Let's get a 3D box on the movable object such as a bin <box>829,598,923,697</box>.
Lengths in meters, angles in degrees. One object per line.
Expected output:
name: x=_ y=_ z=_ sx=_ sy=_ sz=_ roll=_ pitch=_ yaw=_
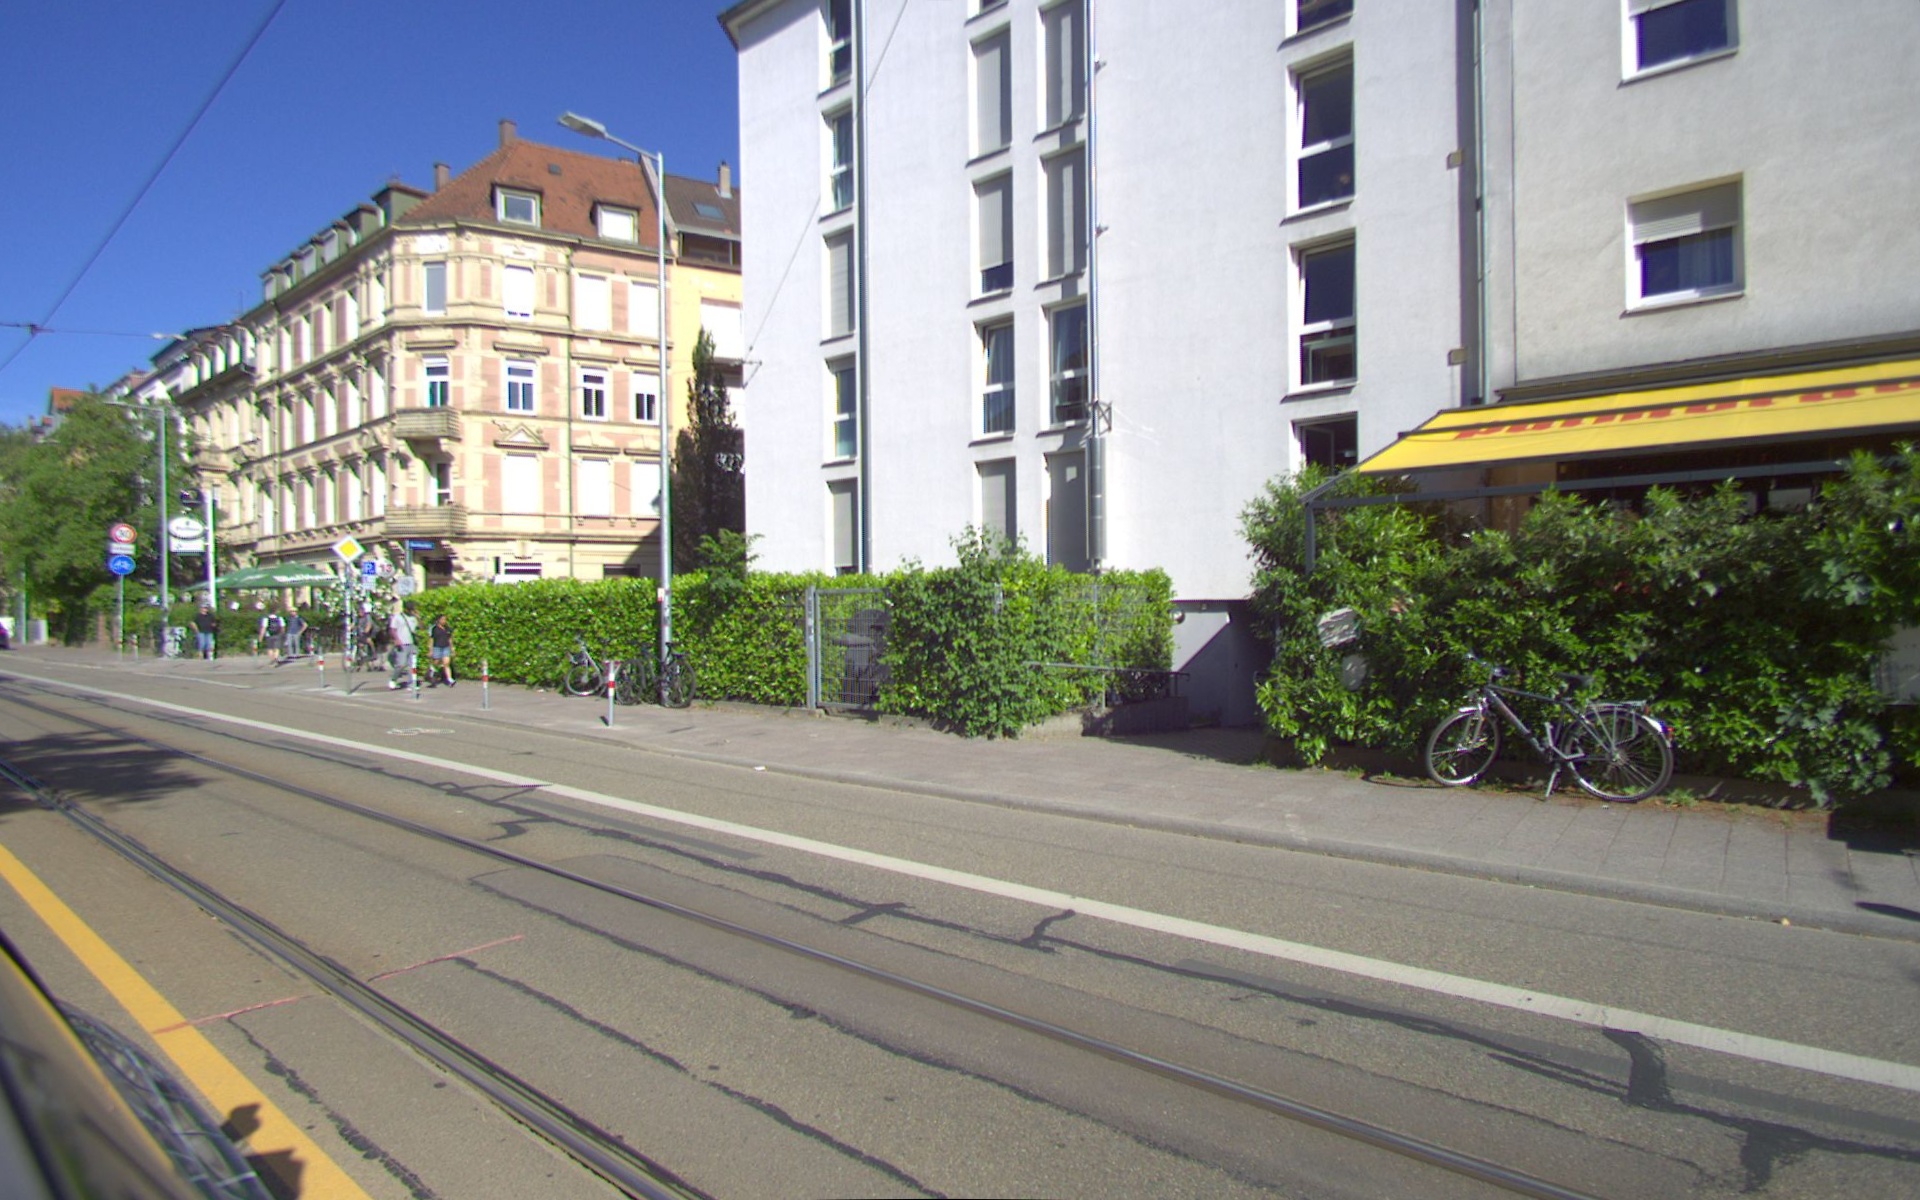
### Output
movable object such as a bin: x=-1.306 y=0.717 z=15.771 sx=1.257 sy=1.467 sz=0.799 roll=-1 pitch=-2 yaw=39

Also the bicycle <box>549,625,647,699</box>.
bicycle: x=-6.022 y=1.002 z=16.784 sx=1.839 sy=1.097 sz=0.655 roll=0 pitch=3 yaw=41

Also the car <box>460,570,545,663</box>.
car: x=-15.231 y=0.493 z=33.553 sx=1.861 sy=2.862 sz=4.797 roll=0 pitch=0 yaw=-33

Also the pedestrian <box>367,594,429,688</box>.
pedestrian: x=-10.799 y=0.776 z=19.449 sx=0.808 sy=1.726 sz=0.747 roll=-1 pitch=1 yaw=41

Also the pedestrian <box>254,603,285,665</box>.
pedestrian: x=-20.462 y=0.996 z=29.996 sx=0.682 sy=1.781 sz=0.869 roll=-1 pitch=-1 yaw=-30

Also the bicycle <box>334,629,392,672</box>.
bicycle: x=-16.419 y=1.367 z=27.892 sx=0.696 sy=1.063 sz=1.838 roll=0 pitch=0 yaw=-7

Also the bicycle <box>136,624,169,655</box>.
bicycle: x=-28.942 y=1.404 z=36.248 sx=2.221 sy=1.046 sz=0.508 roll=-1 pitch=0 yaw=41

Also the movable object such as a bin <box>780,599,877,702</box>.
movable object such as a bin: x=-1.966 y=0.733 z=15.127 sx=1.257 sy=1.467 sz=0.799 roll=-1 pitch=-2 yaw=39

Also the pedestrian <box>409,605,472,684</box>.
pedestrian: x=-10.254 y=0.860 z=19.966 sx=0.956 sy=1.489 sz=0.747 roll=-1 pitch=1 yaw=41

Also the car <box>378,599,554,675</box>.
car: x=-12.763 y=0.887 z=26.218 sx=3.984 sy=1.820 sz=1.797 roll=0 pitch=0 yaw=-29

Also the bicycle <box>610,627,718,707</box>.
bicycle: x=-4.569 y=0.999 z=15.571 sx=1.839 sy=1.097 sz=0.655 roll=0 pitch=3 yaw=41

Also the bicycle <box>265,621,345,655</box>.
bicycle: x=-22.608 y=1.304 z=34.968 sx=2.212 sy=1.052 sz=0.877 roll=-1 pitch=1 yaw=-41

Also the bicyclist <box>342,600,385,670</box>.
bicyclist: x=-16.409 y=0.942 z=27.857 sx=0.696 sy=1.867 sz=0.987 roll=0 pitch=0 yaw=-7

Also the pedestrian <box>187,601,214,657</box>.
pedestrian: x=-24.736 y=0.943 z=32.970 sx=0.538 sy=1.795 sz=0.552 roll=-1 pitch=0 yaw=37

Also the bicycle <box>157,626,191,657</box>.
bicycle: x=-26.144 y=1.354 z=33.649 sx=1.776 sy=0.988 sz=0.522 roll=-1 pitch=-1 yaw=40

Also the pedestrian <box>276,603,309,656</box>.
pedestrian: x=-21.663 y=0.952 z=32.869 sx=0.694 sy=1.667 sz=0.835 roll=0 pitch=0 yaw=-18

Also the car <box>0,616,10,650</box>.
car: x=-47.206 y=1.562 z=48.544 sx=4.585 sy=1.588 sz=1.845 roll=-1 pitch=-2 yaw=40

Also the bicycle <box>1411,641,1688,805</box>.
bicycle: x=4.504 y=0.886 z=7.806 sx=1.742 sy=1.067 sz=0.632 roll=-1 pitch=2 yaw=41
